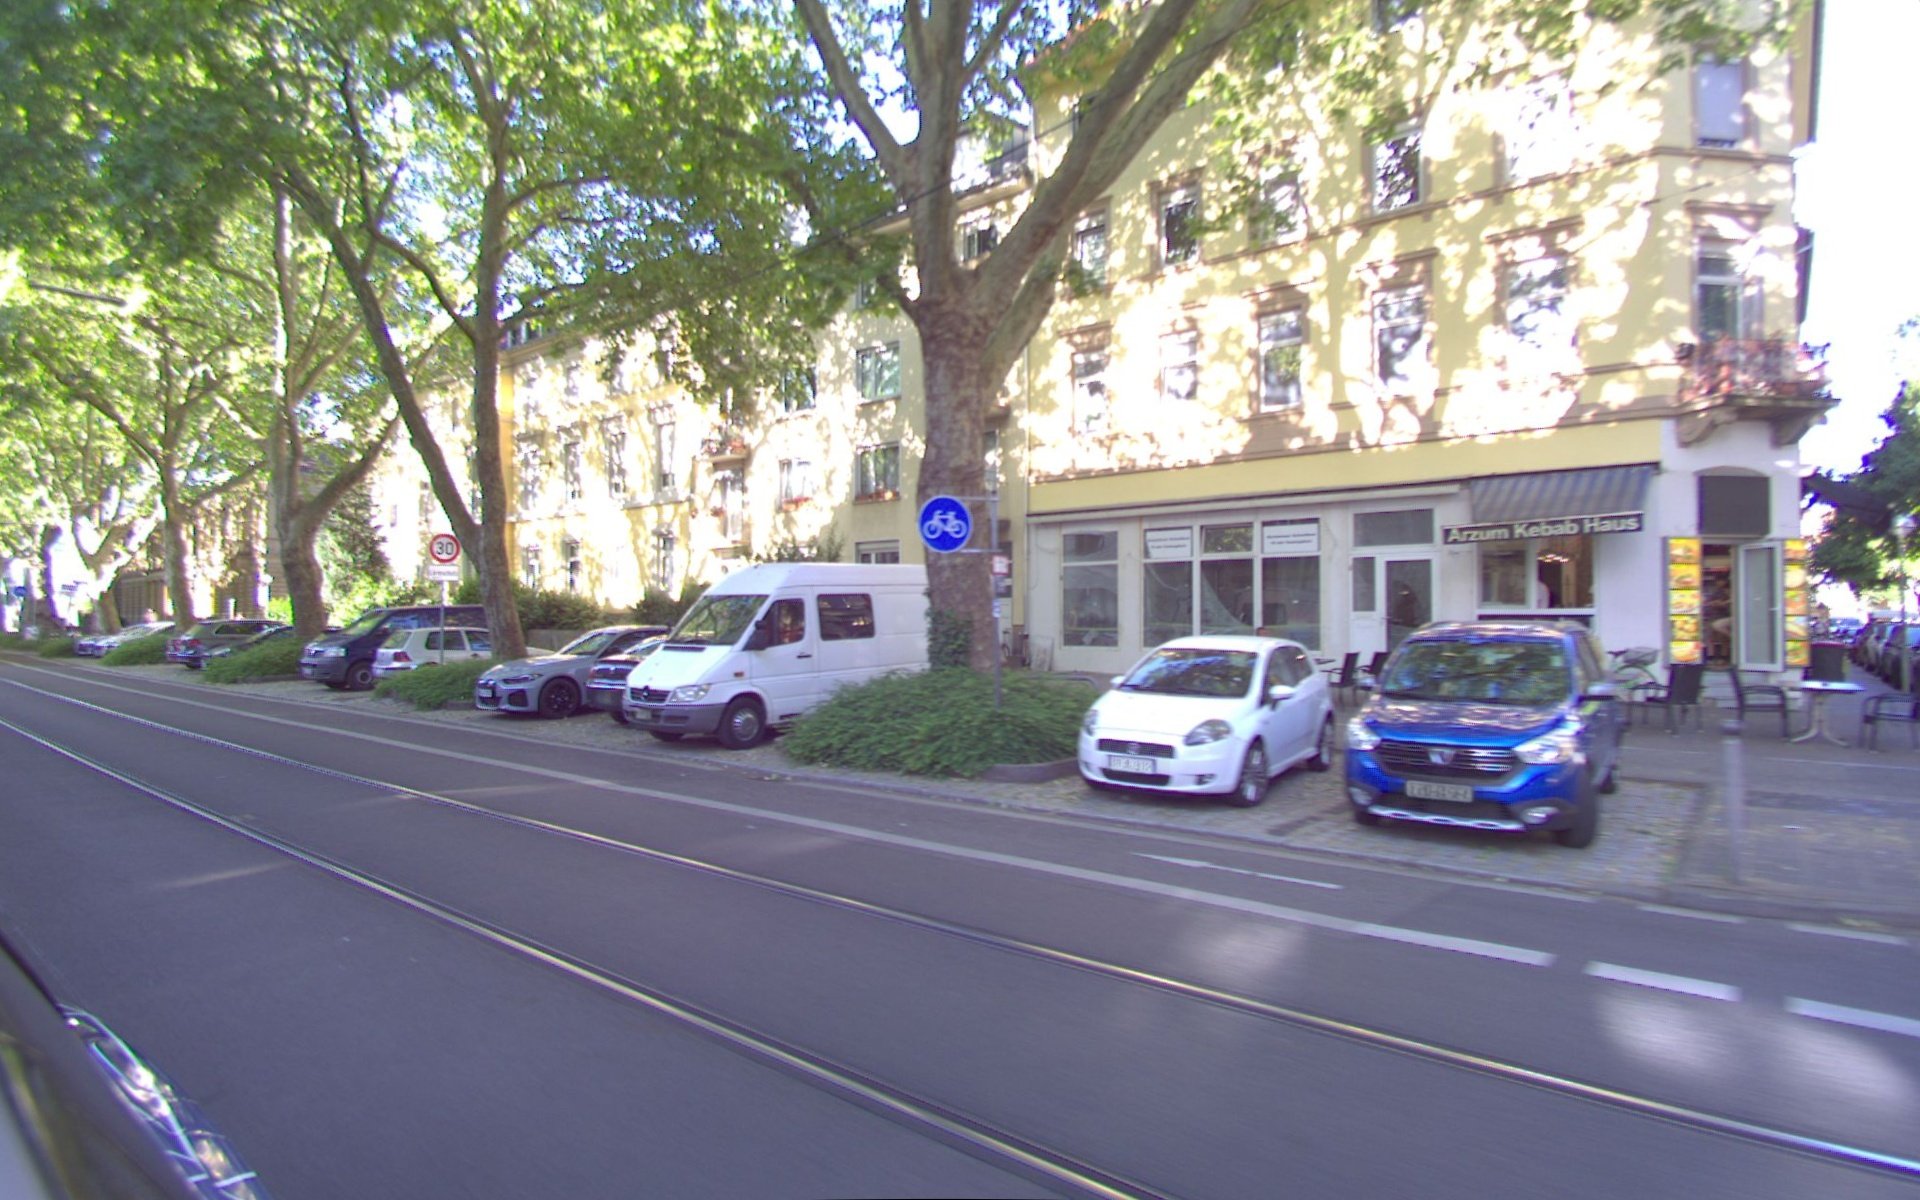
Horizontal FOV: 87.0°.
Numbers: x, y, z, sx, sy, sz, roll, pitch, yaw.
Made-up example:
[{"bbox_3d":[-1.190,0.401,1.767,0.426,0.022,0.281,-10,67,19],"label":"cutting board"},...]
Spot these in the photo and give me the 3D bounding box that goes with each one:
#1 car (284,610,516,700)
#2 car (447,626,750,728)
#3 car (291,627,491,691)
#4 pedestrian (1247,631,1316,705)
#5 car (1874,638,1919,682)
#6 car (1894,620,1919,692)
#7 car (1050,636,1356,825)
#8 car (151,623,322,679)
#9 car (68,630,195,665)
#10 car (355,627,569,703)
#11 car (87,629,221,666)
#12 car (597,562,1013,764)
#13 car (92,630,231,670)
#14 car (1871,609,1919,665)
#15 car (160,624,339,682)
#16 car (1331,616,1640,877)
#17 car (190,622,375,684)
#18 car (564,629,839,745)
[{"bbox_3d":[-13.591,1.266,24.806,1.919,1.922,4.583,-2,-1,38],"label":"car"},{"bbox_3d":[-6.412,1.297,18.477,1.998,1.456,4.882,-2,-1,40],"label":"car"},{"bbox_3d":[-14.974,1.509,26.822,1.656,1.419,4.311,-2,-1,40],"label":"car"},{"bbox_3d":[5.627,1.165,17.717,0.929,1.250,0.699,-2,-3,41],"label":"pedestrian"},{"bbox_3d":[27.568,1.690,29.107,1.755,1.186,3.352,-2,-2,40],"label":"car"},{"bbox_3d":[24.192,1.362,24.796,1.755,1.706,3.132,-2,-2,40],"label":"car"},{"bbox_3d":[2.621,1.137,10.310,1.745,1.529,3.735,-1,-2,36],"label":"car"},{"bbox_3d":[-24.276,1.660,34.071,1.998,1.625,4.311,-2,-1,40],"label":"car"},{"bbox_3d":[-35.069,1.992,42.928,1.409,1.385,3.951,-1,-2,36],"label":"car"},{"bbox_3d":[-11.387,1.425,23.337,1.867,1.456,4.017,-2,-1,40],"label":"car"},{"bbox_3d":[-32.675,1.891,41.121,1.598,1.442,3.951,-1,-2,36],"label":"car"},{"bbox_3d":[-1.968,0.756,15.352,1.998,2.426,6.536,-2,-1,40],"label":"car"},{"bbox_3d":[-30.837,1.879,39.183,1.525,1.442,3.951,-1,-2,36],"label":"car"},{"bbox_3d":[31.602,1.227,33.691,1.755,1.802,3.352,-2,-2,40],"label":"car"},{"bbox_3d":[-22.597,1.640,32.307,1.998,1.625,4.311,-2,-1,40],"label":"car"},{"bbox_3d":[4.856,1.042,9.004,1.813,1.725,4.280,-1,-2,36],"label":"car"},{"bbox_3d":[-20.618,1.567,30.927,1.998,1.625,4.311,-2,-1,40],"label":"car"},{"bbox_3d":[-4.116,1.308,16.674,1.902,1.509,4.105,-1,0,38],"label":"car"}]
